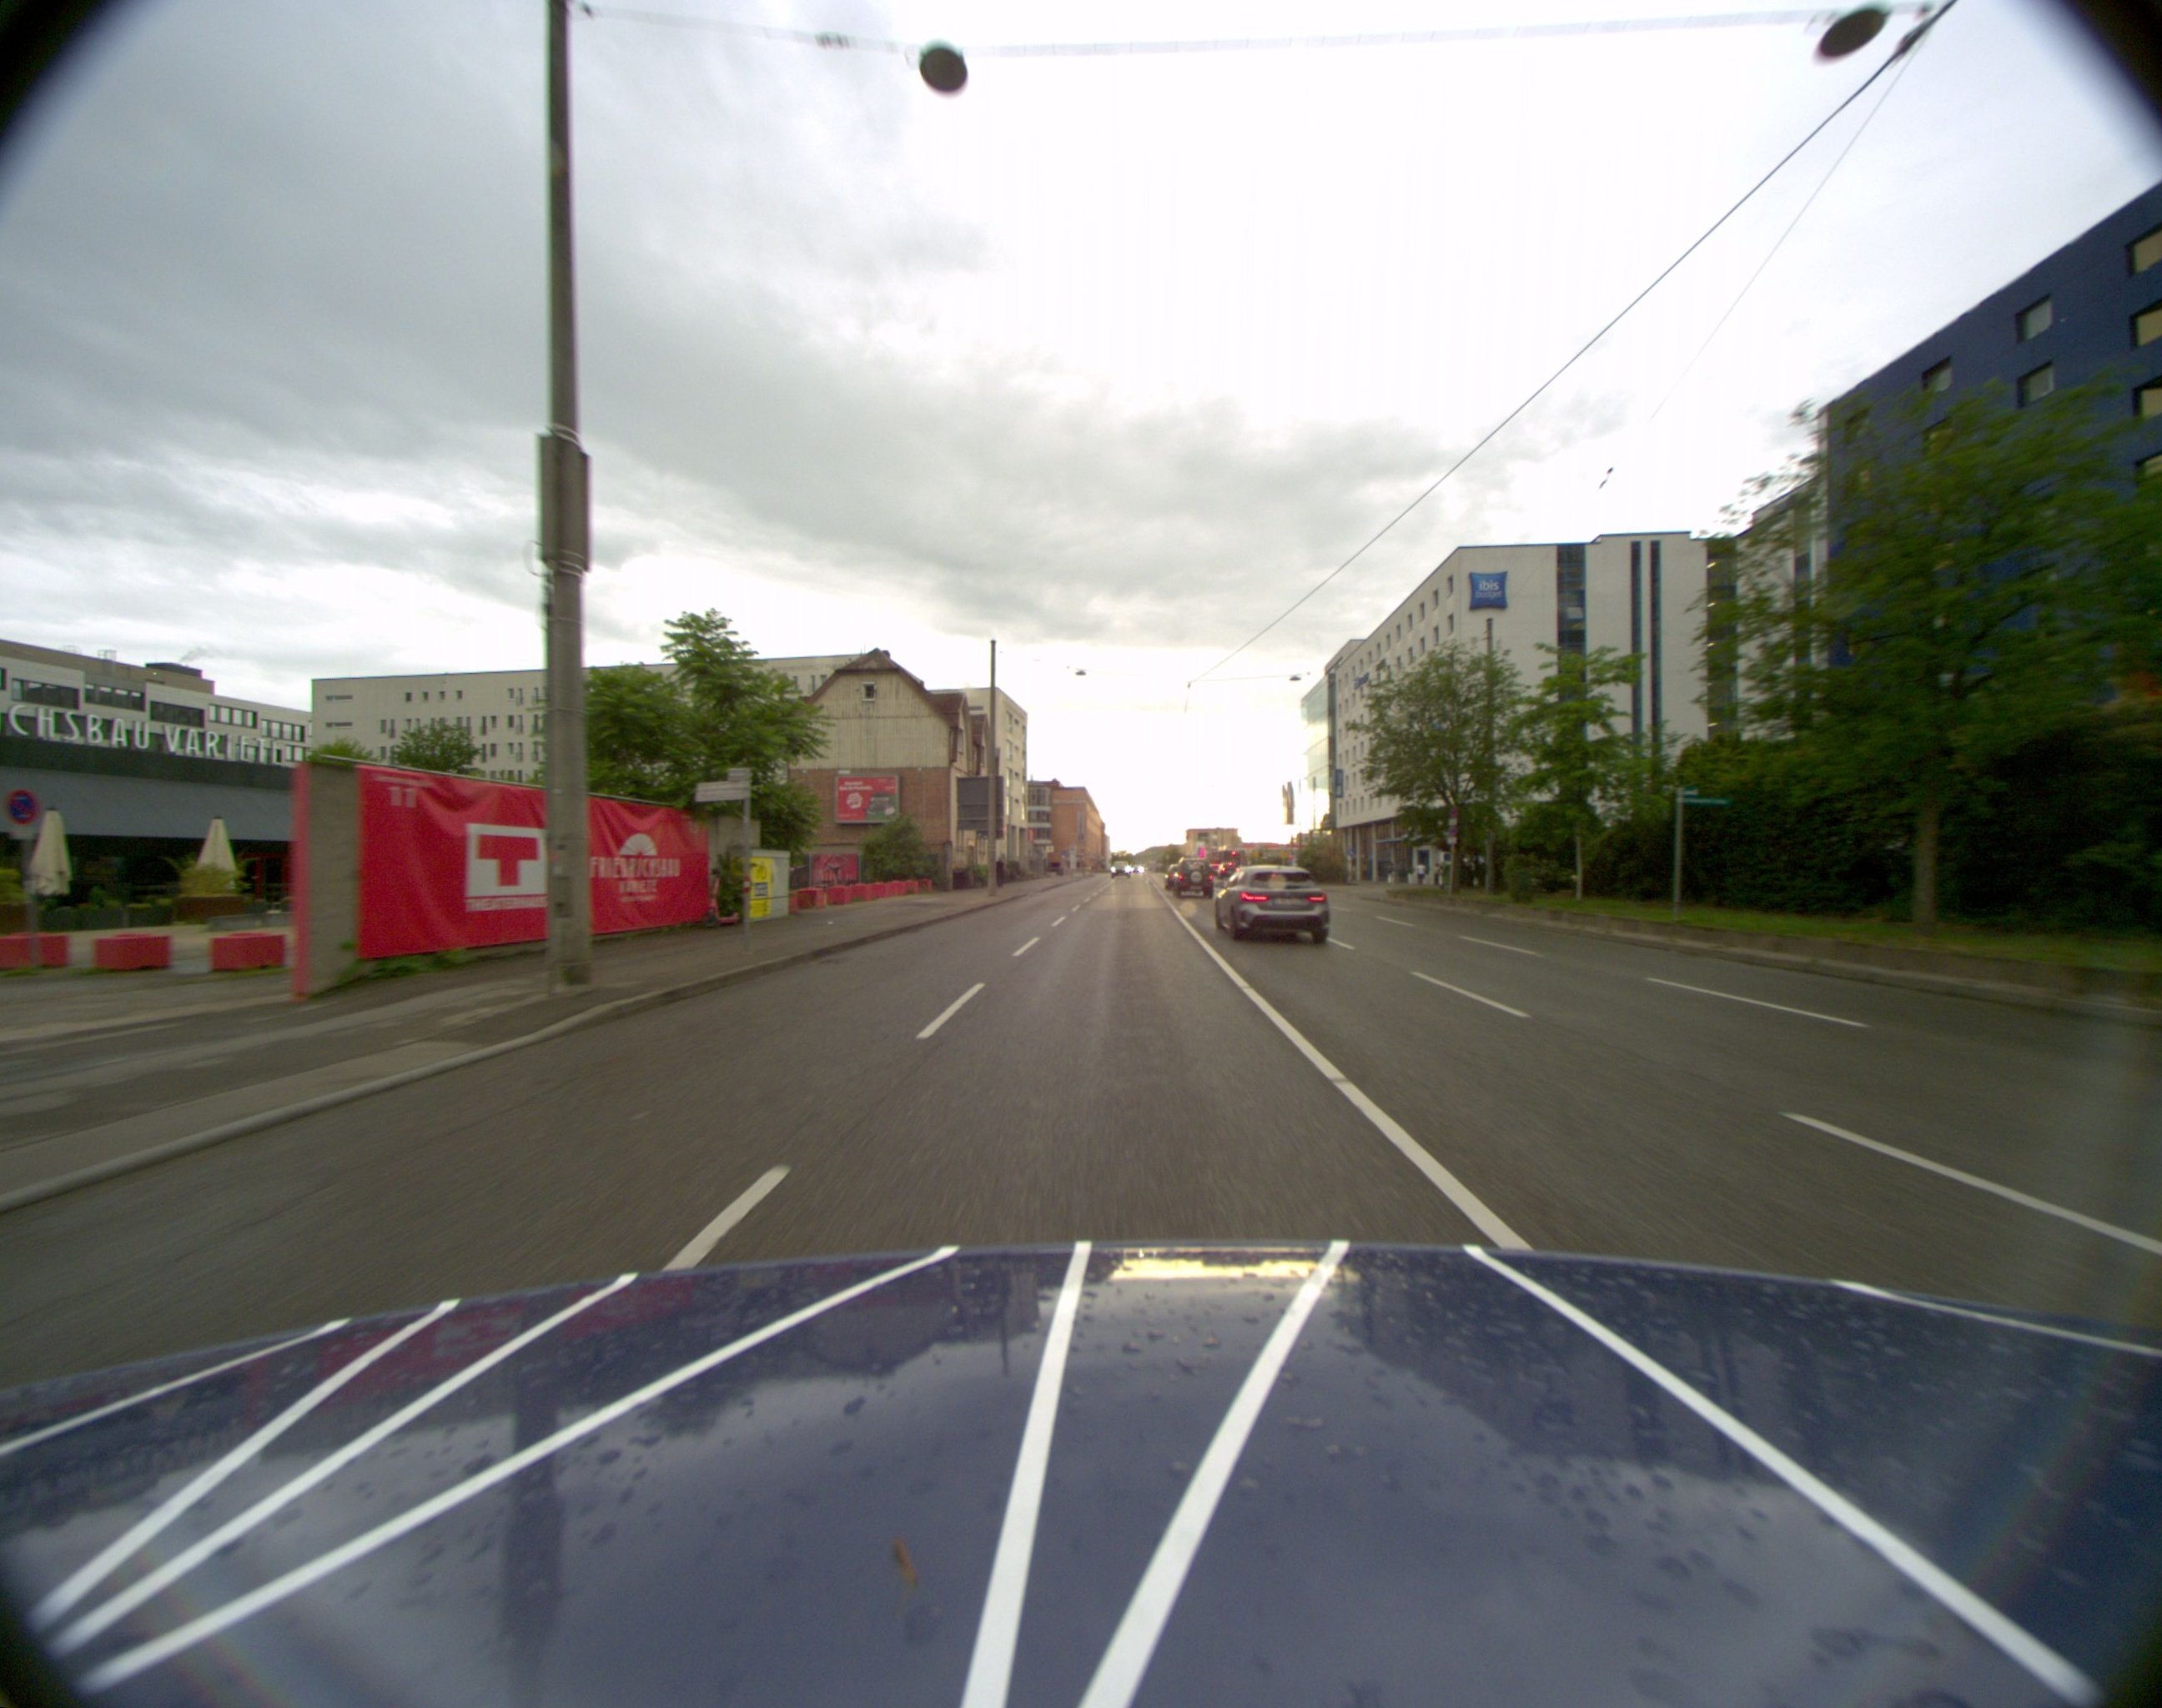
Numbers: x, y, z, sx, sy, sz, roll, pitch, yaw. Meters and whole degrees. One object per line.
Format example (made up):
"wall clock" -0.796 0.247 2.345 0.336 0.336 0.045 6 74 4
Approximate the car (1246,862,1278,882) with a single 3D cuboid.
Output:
"car" 13.028 1.267 54.845 1.624 1.315 4.449 1 -1 5

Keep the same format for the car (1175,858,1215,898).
"car" 4.998 1.049 33.594 1.506 1.656 3.422 0 -1 4

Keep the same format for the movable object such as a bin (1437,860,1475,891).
"movable object such as a bin" 18.705 1.062 37.886 1.394 1.481 0.952 2 -3 -2

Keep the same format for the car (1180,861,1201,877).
"car" 11.486 1.629 79.671 1.760 1.546 4.453 2 -2 4

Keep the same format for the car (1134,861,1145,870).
"car" 10.859 2.162 141.832 1.963 1.516 4.264 -1 -1 4

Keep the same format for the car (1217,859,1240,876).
"car" 14.726 1.340 76.080 1.711 1.556 4.036 2 -1 5

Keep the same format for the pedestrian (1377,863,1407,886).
"pedestrian" 23.264 1.532 56.813 1.995 1.710 1.699 -1 -2 23

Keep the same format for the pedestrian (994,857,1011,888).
"pedestrian" -4.639 1.080 44.908 0.766 1.754 0.914 -2 2 8

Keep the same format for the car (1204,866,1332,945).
"car" 3.711 0.962 15.785 1.716 1.357 4.000 0 0 1

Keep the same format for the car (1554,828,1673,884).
"car" 21.044 0.014 30.265 1.840 2.002 4.316 2 2 4

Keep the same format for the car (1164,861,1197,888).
"car" 5.685 1.163 43.568 1.663 1.477 3.821 0 0 4
